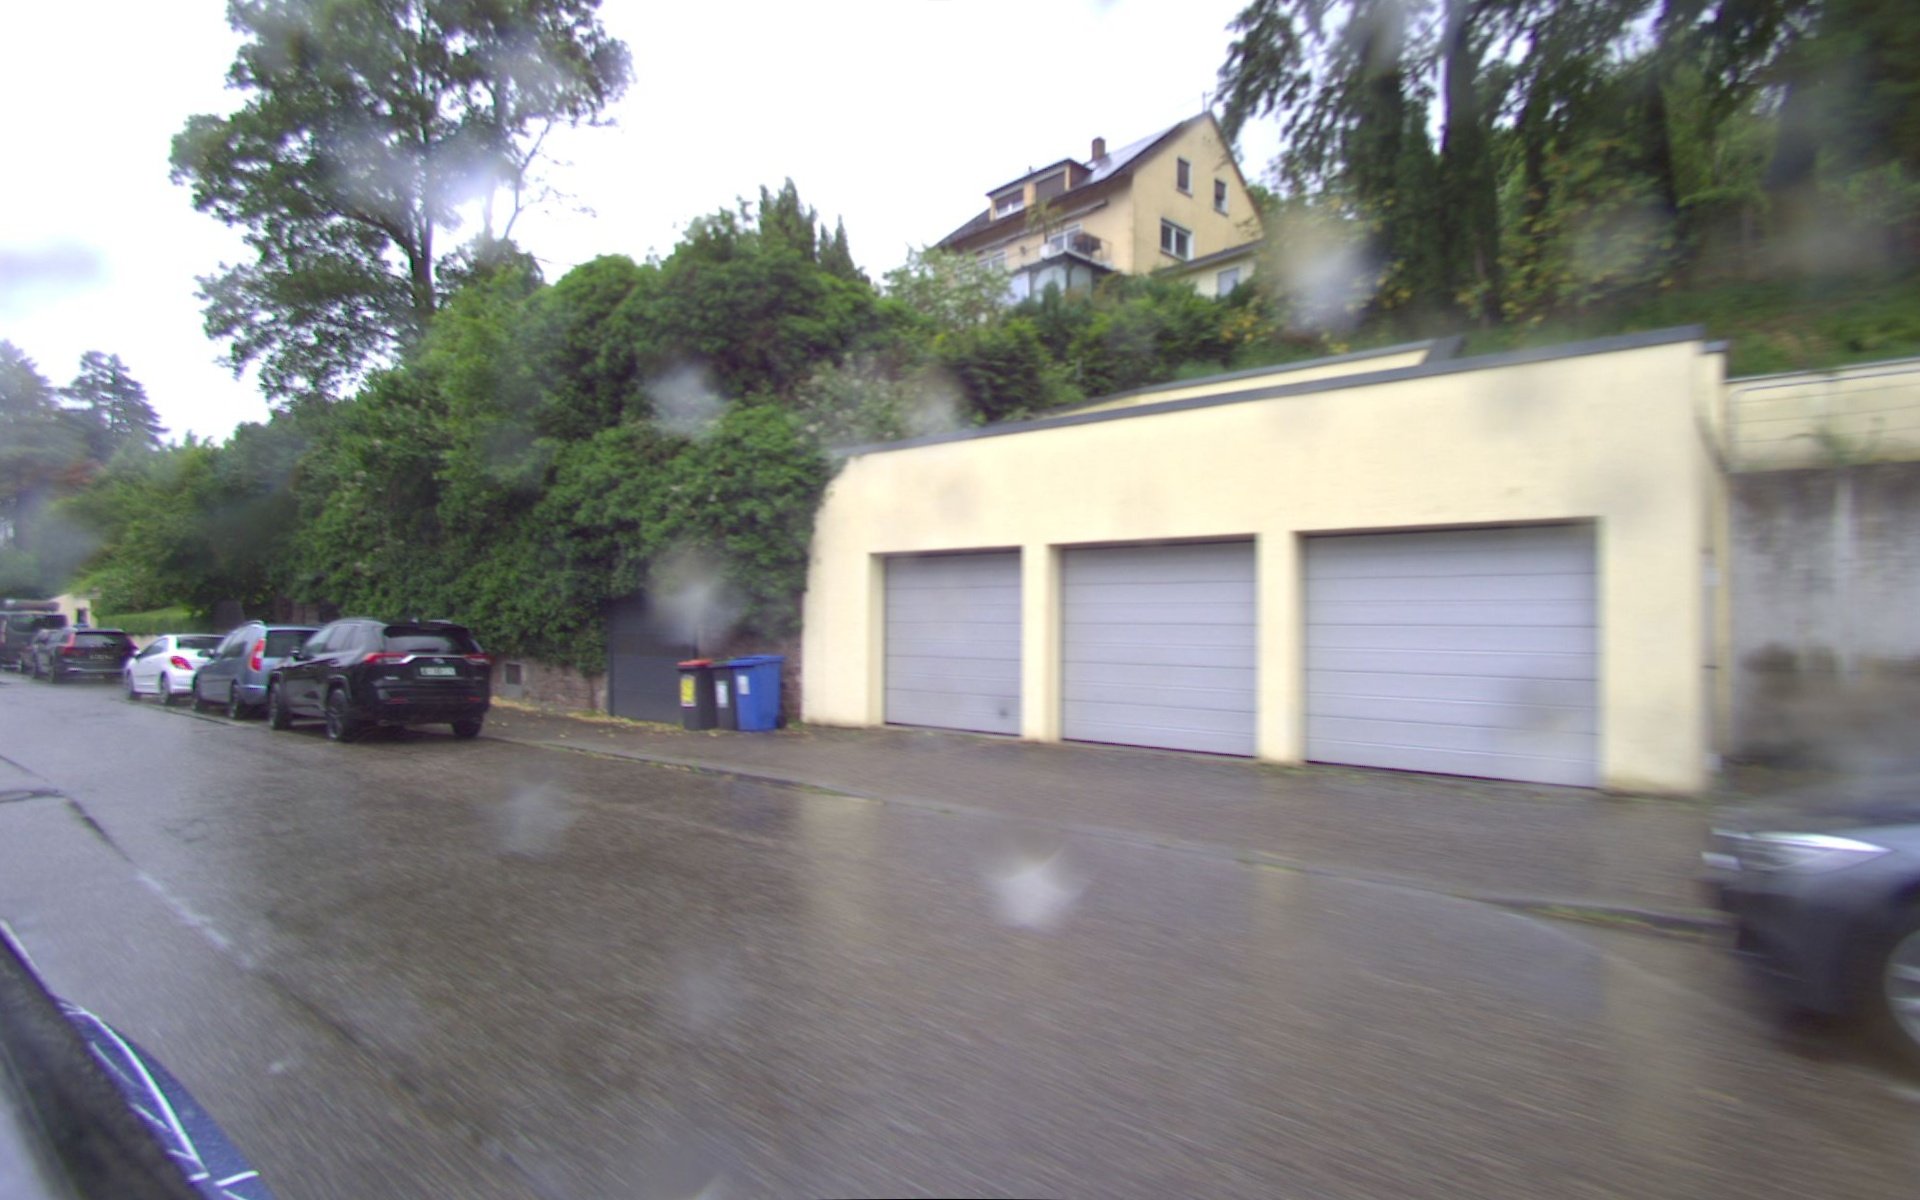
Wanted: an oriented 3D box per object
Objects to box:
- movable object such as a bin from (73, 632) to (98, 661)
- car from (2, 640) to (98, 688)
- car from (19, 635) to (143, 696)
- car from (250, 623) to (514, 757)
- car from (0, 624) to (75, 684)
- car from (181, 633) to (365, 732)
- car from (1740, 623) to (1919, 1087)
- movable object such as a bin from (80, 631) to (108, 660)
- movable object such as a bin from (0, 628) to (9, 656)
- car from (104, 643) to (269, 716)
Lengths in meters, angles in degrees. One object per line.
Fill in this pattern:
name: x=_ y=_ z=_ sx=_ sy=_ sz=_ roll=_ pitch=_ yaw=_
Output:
movable object such as a bin: x=-43.110 y=2.264 z=49.878 sx=1.134 sy=1.392 sz=0.811 roll=-2 pitch=-1 yaw=42
car: x=-28.684 y=1.993 z=31.876 sx=3.902 sy=1.375 sz=1.549 roll=-1 pitch=-3 yaw=38
car: x=-24.559 y=1.793 z=28.220 sx=4.752 sy=1.492 sz=1.888 roll=-1 pitch=-4 yaw=41
car: x=-8.458 y=1.224 z=14.637 sx=4.590 sy=1.638 sz=1.854 roll=-2 pitch=-5 yaw=41
car: x=-32.562 y=1.798 z=34.966 sx=5.318 sy=1.933 sz=2.137 roll=-1 pitch=-2 yaw=40
car: x=-12.324 y=1.394 z=18.061 sx=4.108 sy=1.573 sz=1.723 roll=-2 pitch=-4 yaw=42
car: x=5.095 y=0.804 z=2.638 sx=4.752 sy=1.466 sz=1.767 roll=-2 pitch=-5 yaw=41
movable object such as a bin: x=-41.052 y=2.145 z=47.978 sx=1.401 sy=1.324 sz=0.811 roll=-2 pitch=-1 yaw=42
movable object such as a bin: x=-51.628 y=2.271 z=54.127 sx=0.860 sy=1.456 sz=0.924 roll=0 pitch=2 yaw=36
car: x=-16.113 y=1.600 z=21.018 sx=4.077 sy=1.376 sz=1.700 roll=-2 pitch=-4 yaw=38
